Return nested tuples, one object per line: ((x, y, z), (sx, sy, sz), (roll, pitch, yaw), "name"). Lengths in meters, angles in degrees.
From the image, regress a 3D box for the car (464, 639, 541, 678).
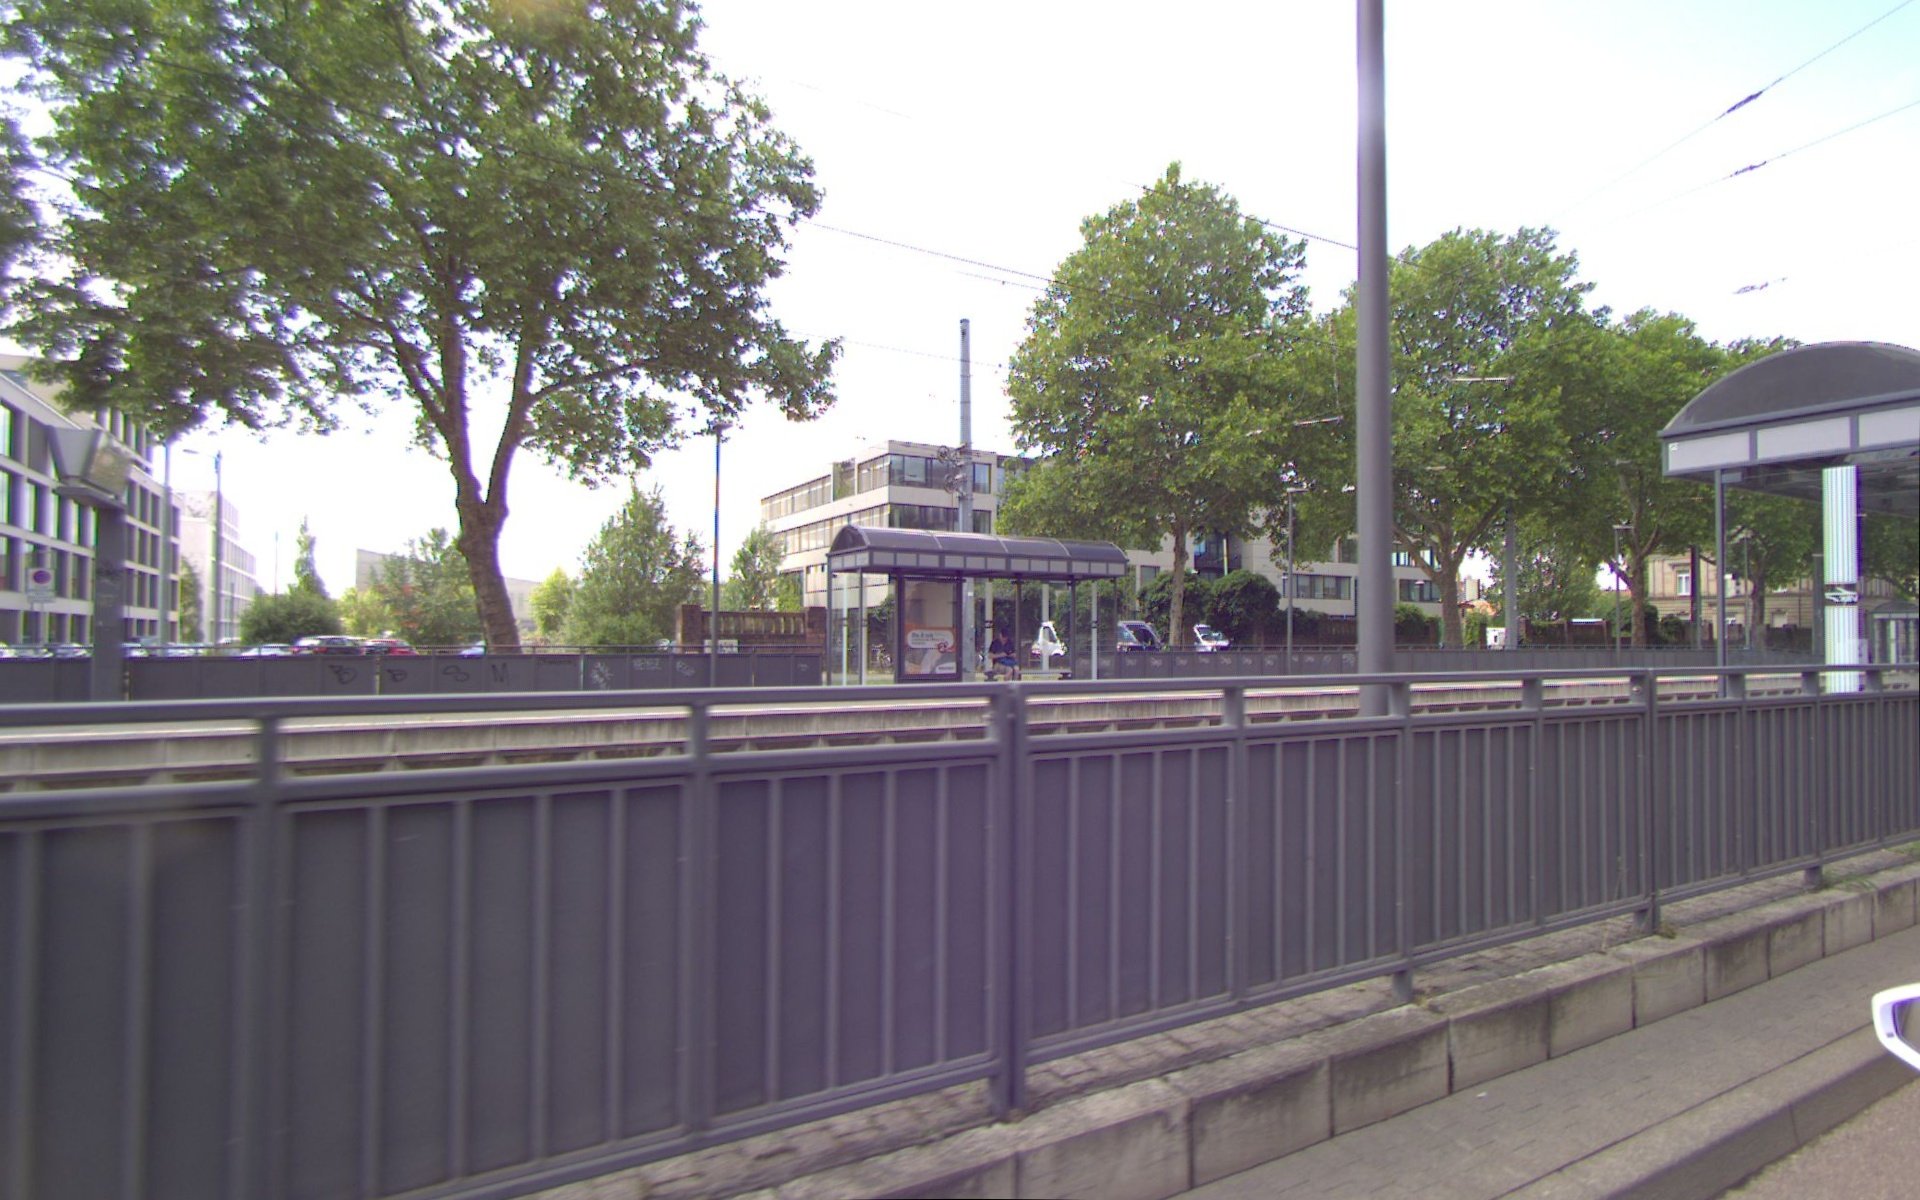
((-25.292, 3.193, 55.657), (1.959, 2.040, 4.003), (-1, -2, 10), "car")

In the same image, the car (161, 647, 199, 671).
((-60.585, 4.595, 78.068), (1.739, 1.837, 4.015), (1, -4, -29), "car")

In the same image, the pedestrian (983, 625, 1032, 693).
((0.908, 1.121, 19.262), (0.758, 1.286, 0.550), (1, -2, -29), "pedestrian")

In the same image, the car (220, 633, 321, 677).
((-33.583, 2.694, 49.085), (1.961, 2.039, 4.440), (0, -4, -2), "car")

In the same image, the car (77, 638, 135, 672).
((-48.631, 3.147, 57.272), (1.739, 1.837, 4.015), (1, -4, -29), "car")

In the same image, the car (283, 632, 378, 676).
((-30.754, 2.674, 49.257), (1.961, 2.039, 4.440), (0, -4, -2), "car")

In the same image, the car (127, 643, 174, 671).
((-54.357, 3.859, 67.521), (1.739, 1.837, 4.015), (1, -4, -29), "car")

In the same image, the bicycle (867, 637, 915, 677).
((-2.475, 1.997, 35.697), (0.626, 1.183, 3.029), (1, 1, -25), "bicycle")

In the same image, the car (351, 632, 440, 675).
((-27.699, 2.652, 49.447), (1.961, 2.039, 4.440), (0, -4, -2), "car")

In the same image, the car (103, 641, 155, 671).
((-51.618, 3.510, 62.483), (1.739, 1.837, 4.015), (1, -4, -29), "car")
